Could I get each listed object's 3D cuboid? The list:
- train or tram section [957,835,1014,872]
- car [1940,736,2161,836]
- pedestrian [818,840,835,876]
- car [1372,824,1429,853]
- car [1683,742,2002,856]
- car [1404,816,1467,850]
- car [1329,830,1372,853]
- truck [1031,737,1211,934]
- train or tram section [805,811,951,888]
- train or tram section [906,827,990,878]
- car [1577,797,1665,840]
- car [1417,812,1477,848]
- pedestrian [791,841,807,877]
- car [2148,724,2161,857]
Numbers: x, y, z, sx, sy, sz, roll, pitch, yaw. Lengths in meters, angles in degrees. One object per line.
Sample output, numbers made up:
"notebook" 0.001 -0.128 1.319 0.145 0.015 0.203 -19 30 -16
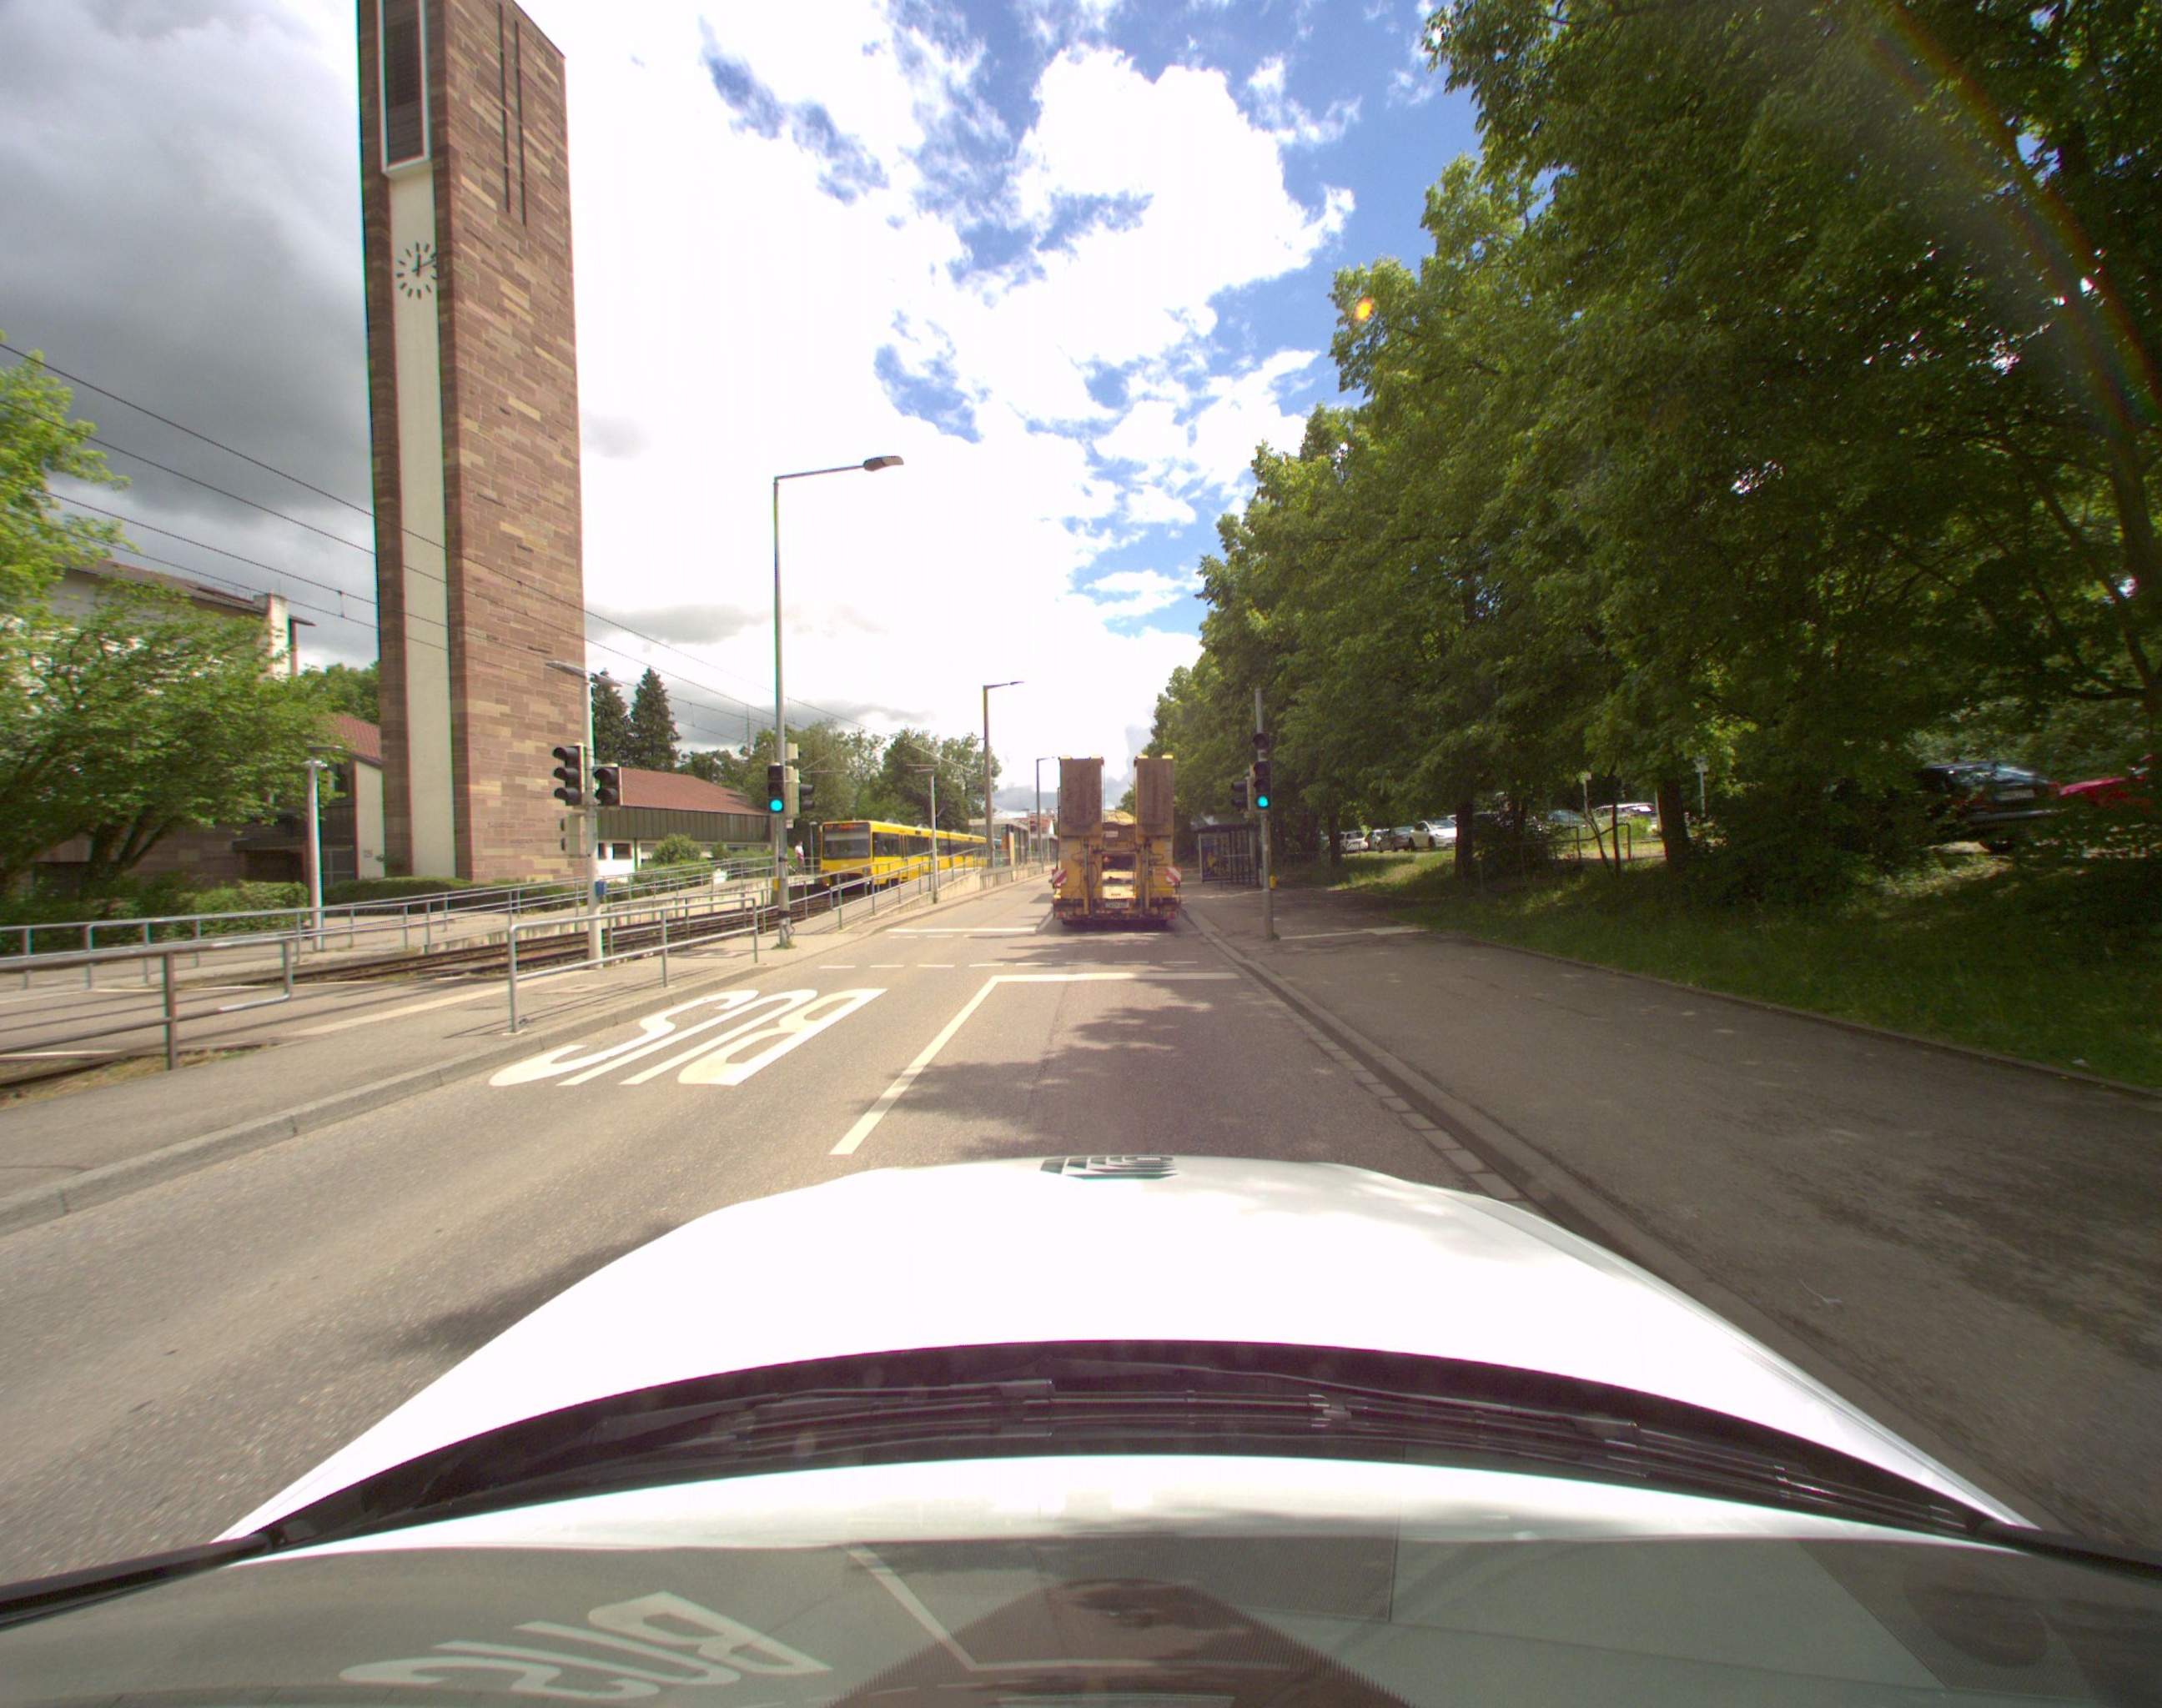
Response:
"train or tram section" -9.597 0.003 84.341 3.096 3.465 19.204 0 0 2
"car" 17.937 -1.178 13.894 1.746 1.477 4.546 -5 0 2
"pedestrian" -14.016 0.223 44.930 0.710 2.014 0.731 0 -1 -1
"car" 18.435 -0.849 47.190 1.607 1.442 4.354 -5 0 2
"car" 12.788 -0.808 14.116 1.621 1.514 4.140 -6 0 1
"car" 18.353 -1.051 42.339 1.463 1.555 4.436 -6 0 4
"car" 19.376 -0.864 58.717 1.834 1.420 4.125 -4 0 2
"truck" 0.709 -0.328 22.773 3.392 3.732 13.732 -2 0 -1
"train or tram section" -10.687 -0.173 46.292 3.096 3.465 18.831 0 0 2
"train or tram section" -10.140 -0.068 65.216 3.096 3.465 19.002 0 0 2
"car" 20.782 -1.324 31.470 1.403 1.303 2.859 -6 -2 0
"car" 21.437 -1.371 47.890 1.607 1.790 4.209 -5 -1 2
"pedestrian" -14.003 0.267 40.420 0.582 1.778 0.576 0 -1 1
"car" 13.037 -0.795 7.467 1.655 1.500 3.664 -5 0 2
